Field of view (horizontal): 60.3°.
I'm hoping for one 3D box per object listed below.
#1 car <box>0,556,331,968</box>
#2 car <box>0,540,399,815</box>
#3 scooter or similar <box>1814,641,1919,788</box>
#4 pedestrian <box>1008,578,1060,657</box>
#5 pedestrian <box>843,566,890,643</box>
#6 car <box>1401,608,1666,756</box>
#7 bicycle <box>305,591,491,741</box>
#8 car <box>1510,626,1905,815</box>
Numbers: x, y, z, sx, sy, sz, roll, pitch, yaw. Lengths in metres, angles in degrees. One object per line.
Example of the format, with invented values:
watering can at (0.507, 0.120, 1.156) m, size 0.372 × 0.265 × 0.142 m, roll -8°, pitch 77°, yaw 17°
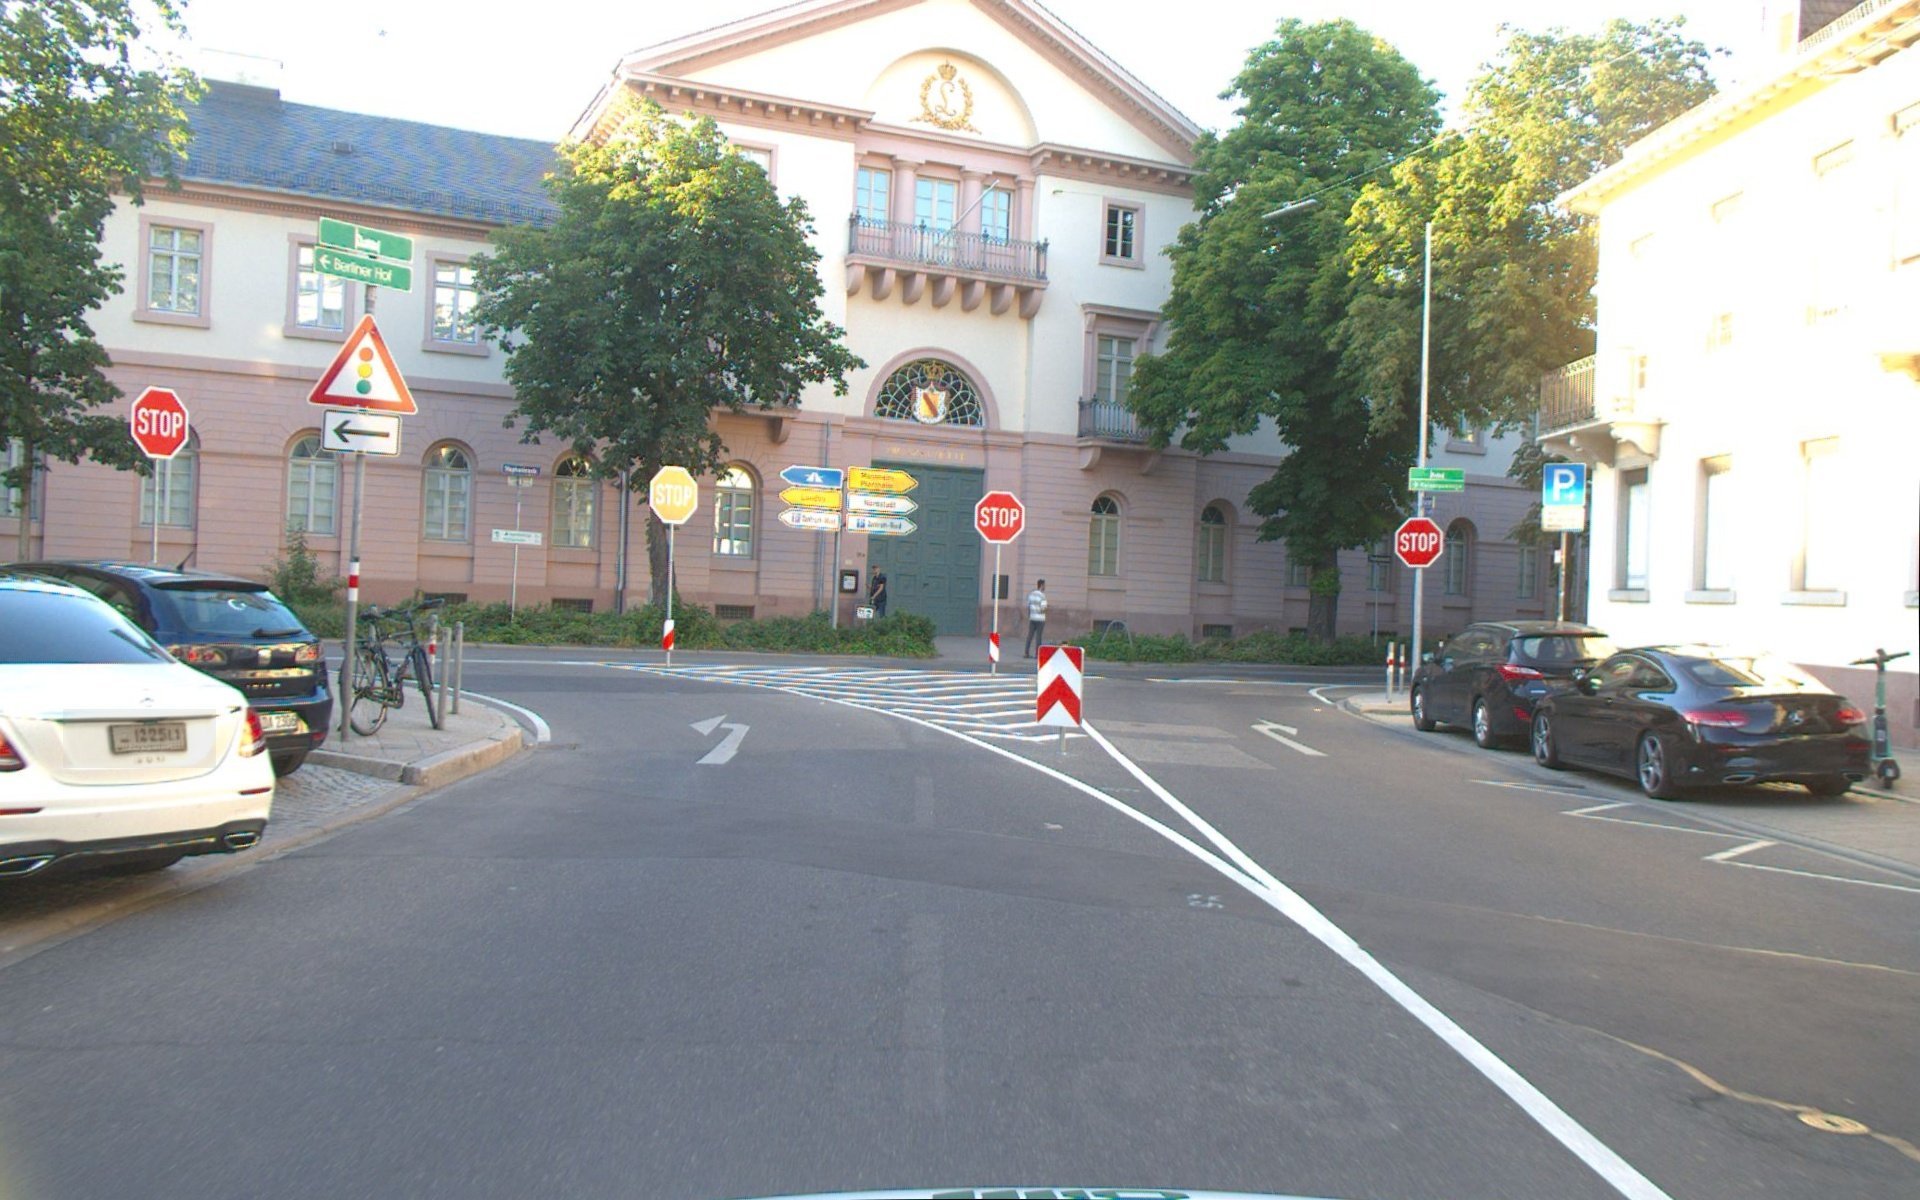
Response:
car at (-5.409, 0.532, 8.031) m, size 4.525 × 1.538 × 1.767 m, roll 4°, pitch 1°, yaw 27°
car at (-6.110, 0.425, 11.715) m, size 3.775 × 1.486 × 1.740 m, roll 5°, pitch 1°, yaw 23°
scooter or similar at (8.652, 1.036, 15.523) m, size 0.589 × 1.254 × 1.771 m, roll -1°, pitch 0°, yaw 9°
pedestrian at (1.768, 0.415, 39.601) m, size 0.916 × 1.864 × 0.794 m, roll 2°, pitch 0°, yaw -28°
pedestrian at (-2.328, 0.101, 40.967) m, size 0.787 × 1.871 × 1.075 m, roll 2°, pitch 0°, yaw -23°
car at (7.195, 0.955, 21.250) m, size 1.765 × 1.568 × 4.430 m, roll 3°, pitch 0°, yaw -1°
bicycle at (-4.795, 0.538, 14.252) m, size 0.710 × 1.145 × 1.805 m, roll 5°, pitch 0°, yaw 7°
car at (7.166, 1.062, 16.499) m, size 1.737 × 1.419 × 4.858 m, roll 3°, pitch 0°, yaw 1°
